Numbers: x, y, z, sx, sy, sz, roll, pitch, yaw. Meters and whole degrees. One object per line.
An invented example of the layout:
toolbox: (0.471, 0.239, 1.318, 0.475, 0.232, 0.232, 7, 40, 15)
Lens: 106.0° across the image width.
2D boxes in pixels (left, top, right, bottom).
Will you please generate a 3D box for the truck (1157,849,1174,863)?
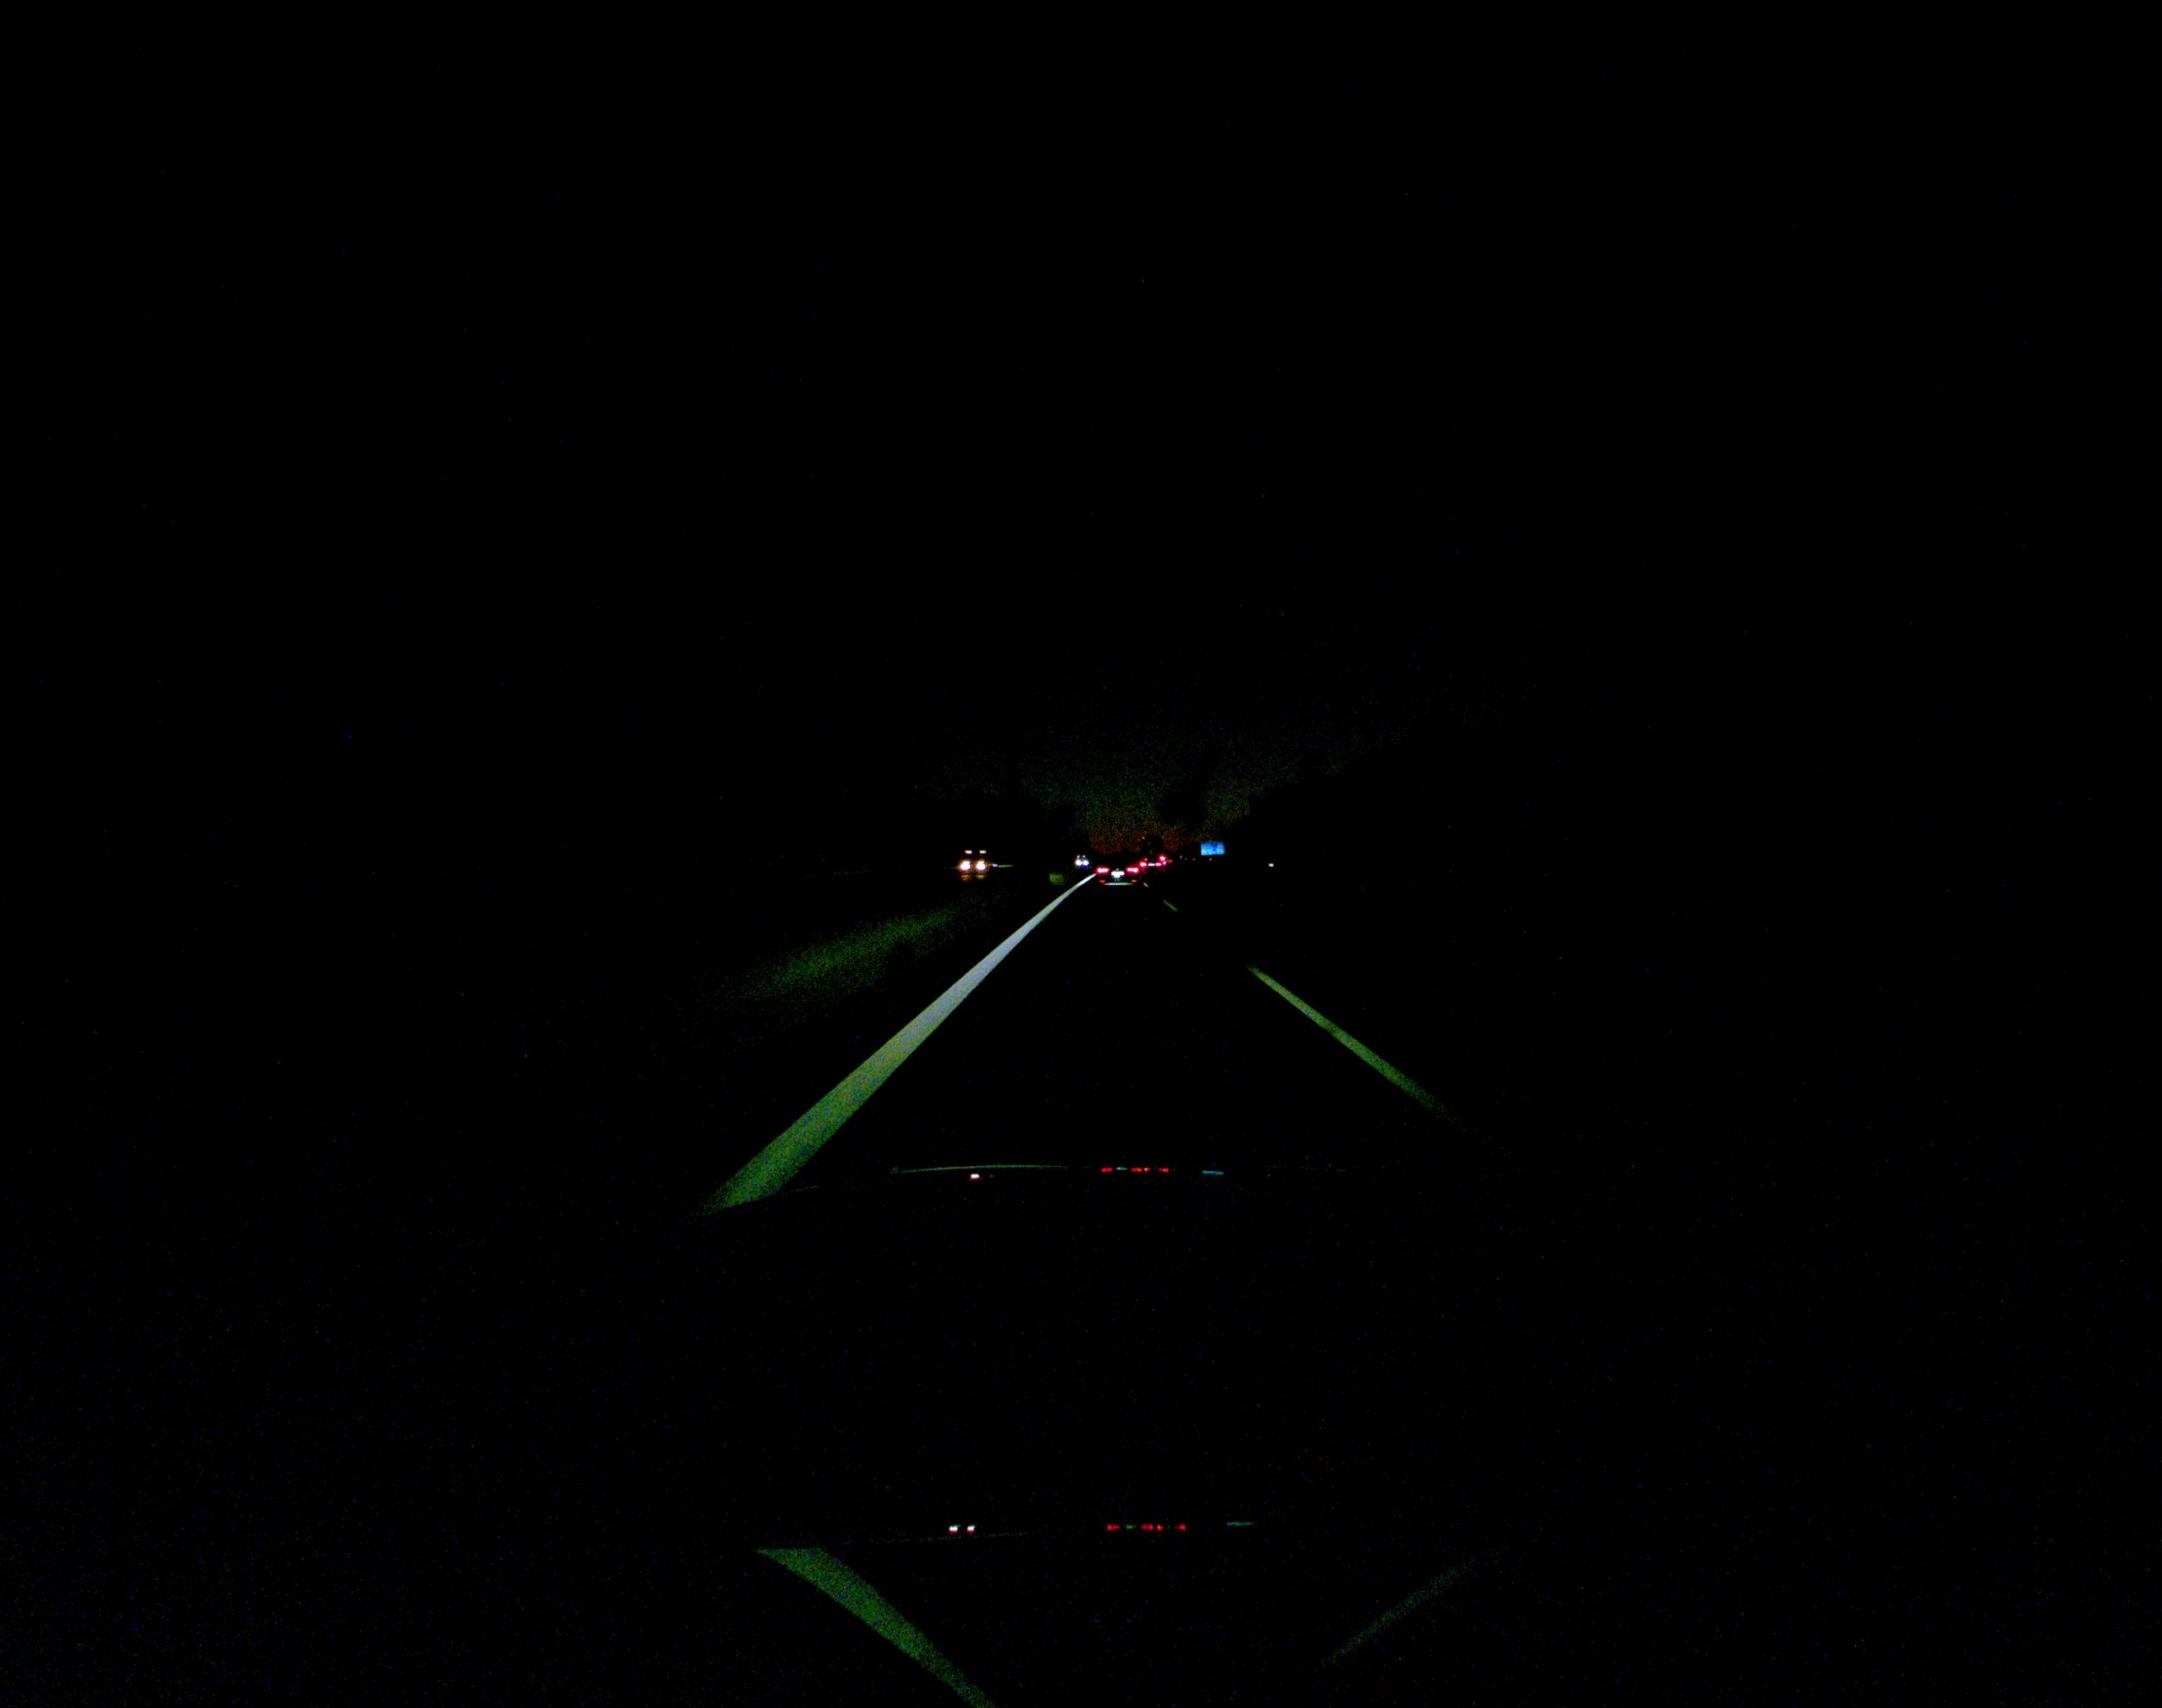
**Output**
truck: (19.760, 0.477, 189.904, 2.540, 3.016, 9.041, 0, 0, -3)

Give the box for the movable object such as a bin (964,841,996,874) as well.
movable object such as a bin: (-10.951, 0.369, 88.784, 2.198, 3.417, 7.442, -1, 0, 3)

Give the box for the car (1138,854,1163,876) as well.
car: (5.812, 0.976, 68.651, 1.904, 1.730, 4.001, 2, -1, 2)

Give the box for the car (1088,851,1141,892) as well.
car: (1.355, 0.767, 34.510, 2.099, 1.618, 4.203, 0, -2, 0)

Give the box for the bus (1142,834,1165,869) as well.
bus: (9.410, -0.189, 106.232, 2.640, 3.994, 14.719, -3, -2, 5)

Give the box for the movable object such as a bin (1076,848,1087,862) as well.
movable object such as a bin: (0.216, 0.384, 227.847, 2.283, 3.769, 7.695, -1, 0, 4)
